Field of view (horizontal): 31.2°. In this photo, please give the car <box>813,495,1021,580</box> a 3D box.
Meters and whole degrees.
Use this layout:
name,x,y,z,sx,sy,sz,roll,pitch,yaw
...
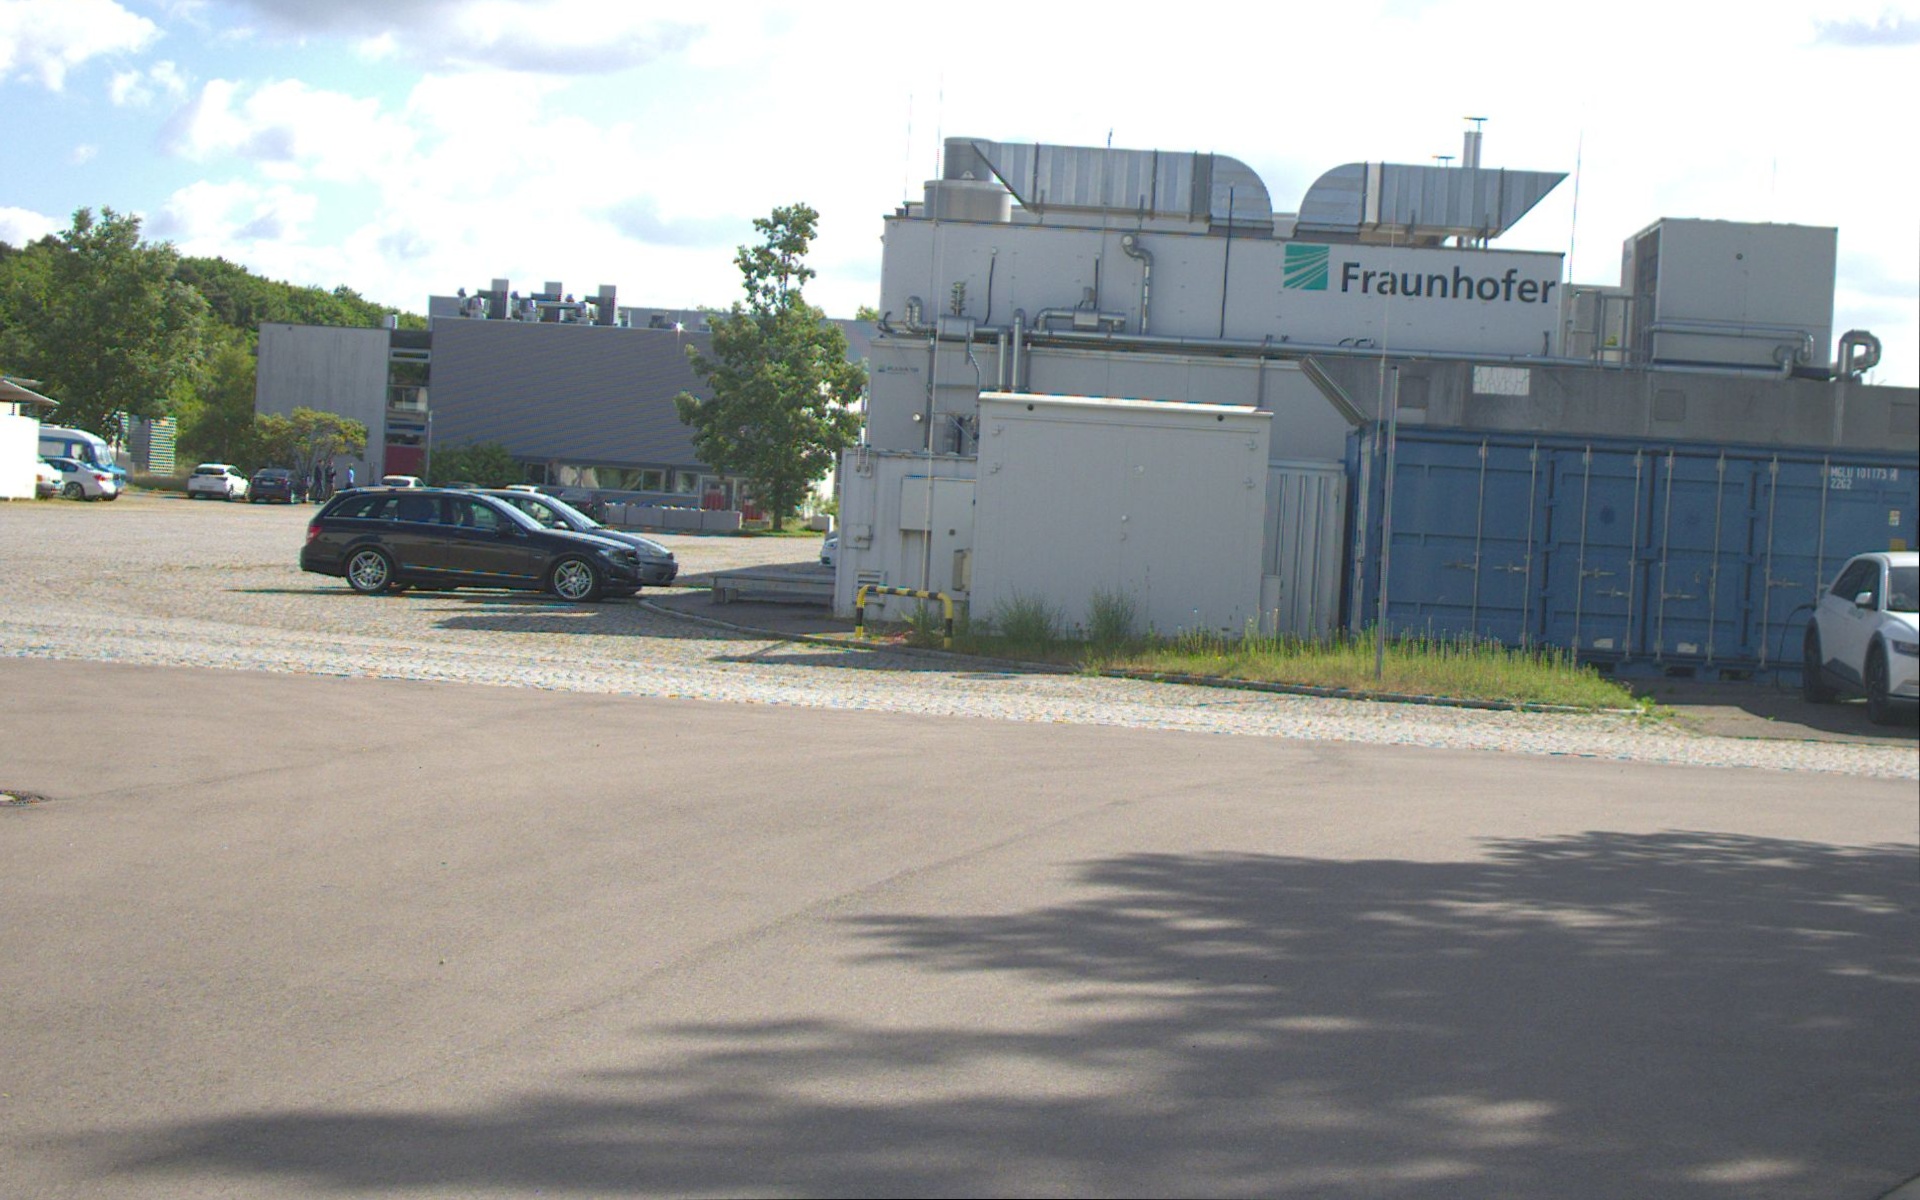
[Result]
name,x,y,z,sx,sy,sz,roll,pitch,yaw
car,-0.908,-1.332,74.063,4.280,1.564,1.987,3,0,3

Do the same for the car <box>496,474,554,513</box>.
name,x,y,z,sx,sy,sz,roll,pitch,yaw
car,-18.250,-4.460,144.343,1.877,1.532,4.036,2,1,1

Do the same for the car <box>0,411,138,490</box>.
name,x,y,z,sx,sy,sz,roll,pitch,yaw
car,-31.964,-5.295,121.321,5.260,2.433,2.049,4,1,7

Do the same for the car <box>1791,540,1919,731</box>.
name,x,y,z,sx,sy,sz,roll,pitch,yaw
car,9.487,0.336,33.116,1.981,1.588,4.340,4,3,2

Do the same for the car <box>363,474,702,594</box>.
name,x,y,z,sx,sy,sz,roll,pitch,yaw
car,-6.155,-0.941,49.828,4.530,1.438,1.904,3,0,3

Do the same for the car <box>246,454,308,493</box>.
name,x,y,z,sx,sy,sz,roll,pitch,yaw
car,-28.696,-5.309,144.580,1.877,1.532,4.036,2,1,-2

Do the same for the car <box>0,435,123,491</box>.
name,x,y,z,sx,sy,sz,roll,pitch,yaw
car,-31.154,-4.724,118.342,4.111,1.625,1.807,4,1,7

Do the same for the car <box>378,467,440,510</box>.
name,x,y,z,sx,sy,sz,roll,pitch,yaw
car,-23.138,-4.678,144.535,1.877,1.684,4.036,2,1,1

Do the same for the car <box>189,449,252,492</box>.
name,x,y,z,sx,sy,sz,roll,pitch,yaw
car,-31.138,-5.449,144.829,1.846,1.663,4.134,2,1,-2

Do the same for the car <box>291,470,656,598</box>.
name,x,y,z,sx,sy,sz,roll,pitch,yaw
car,-6.550,-0.876,46.587,4.530,1.438,1.987,3,0,3

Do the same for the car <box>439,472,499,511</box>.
name,x,y,z,sx,sy,sz,roll,pitch,yaw
car,-20.585,-4.524,144.247,1.877,1.532,4.036,2,1,1
